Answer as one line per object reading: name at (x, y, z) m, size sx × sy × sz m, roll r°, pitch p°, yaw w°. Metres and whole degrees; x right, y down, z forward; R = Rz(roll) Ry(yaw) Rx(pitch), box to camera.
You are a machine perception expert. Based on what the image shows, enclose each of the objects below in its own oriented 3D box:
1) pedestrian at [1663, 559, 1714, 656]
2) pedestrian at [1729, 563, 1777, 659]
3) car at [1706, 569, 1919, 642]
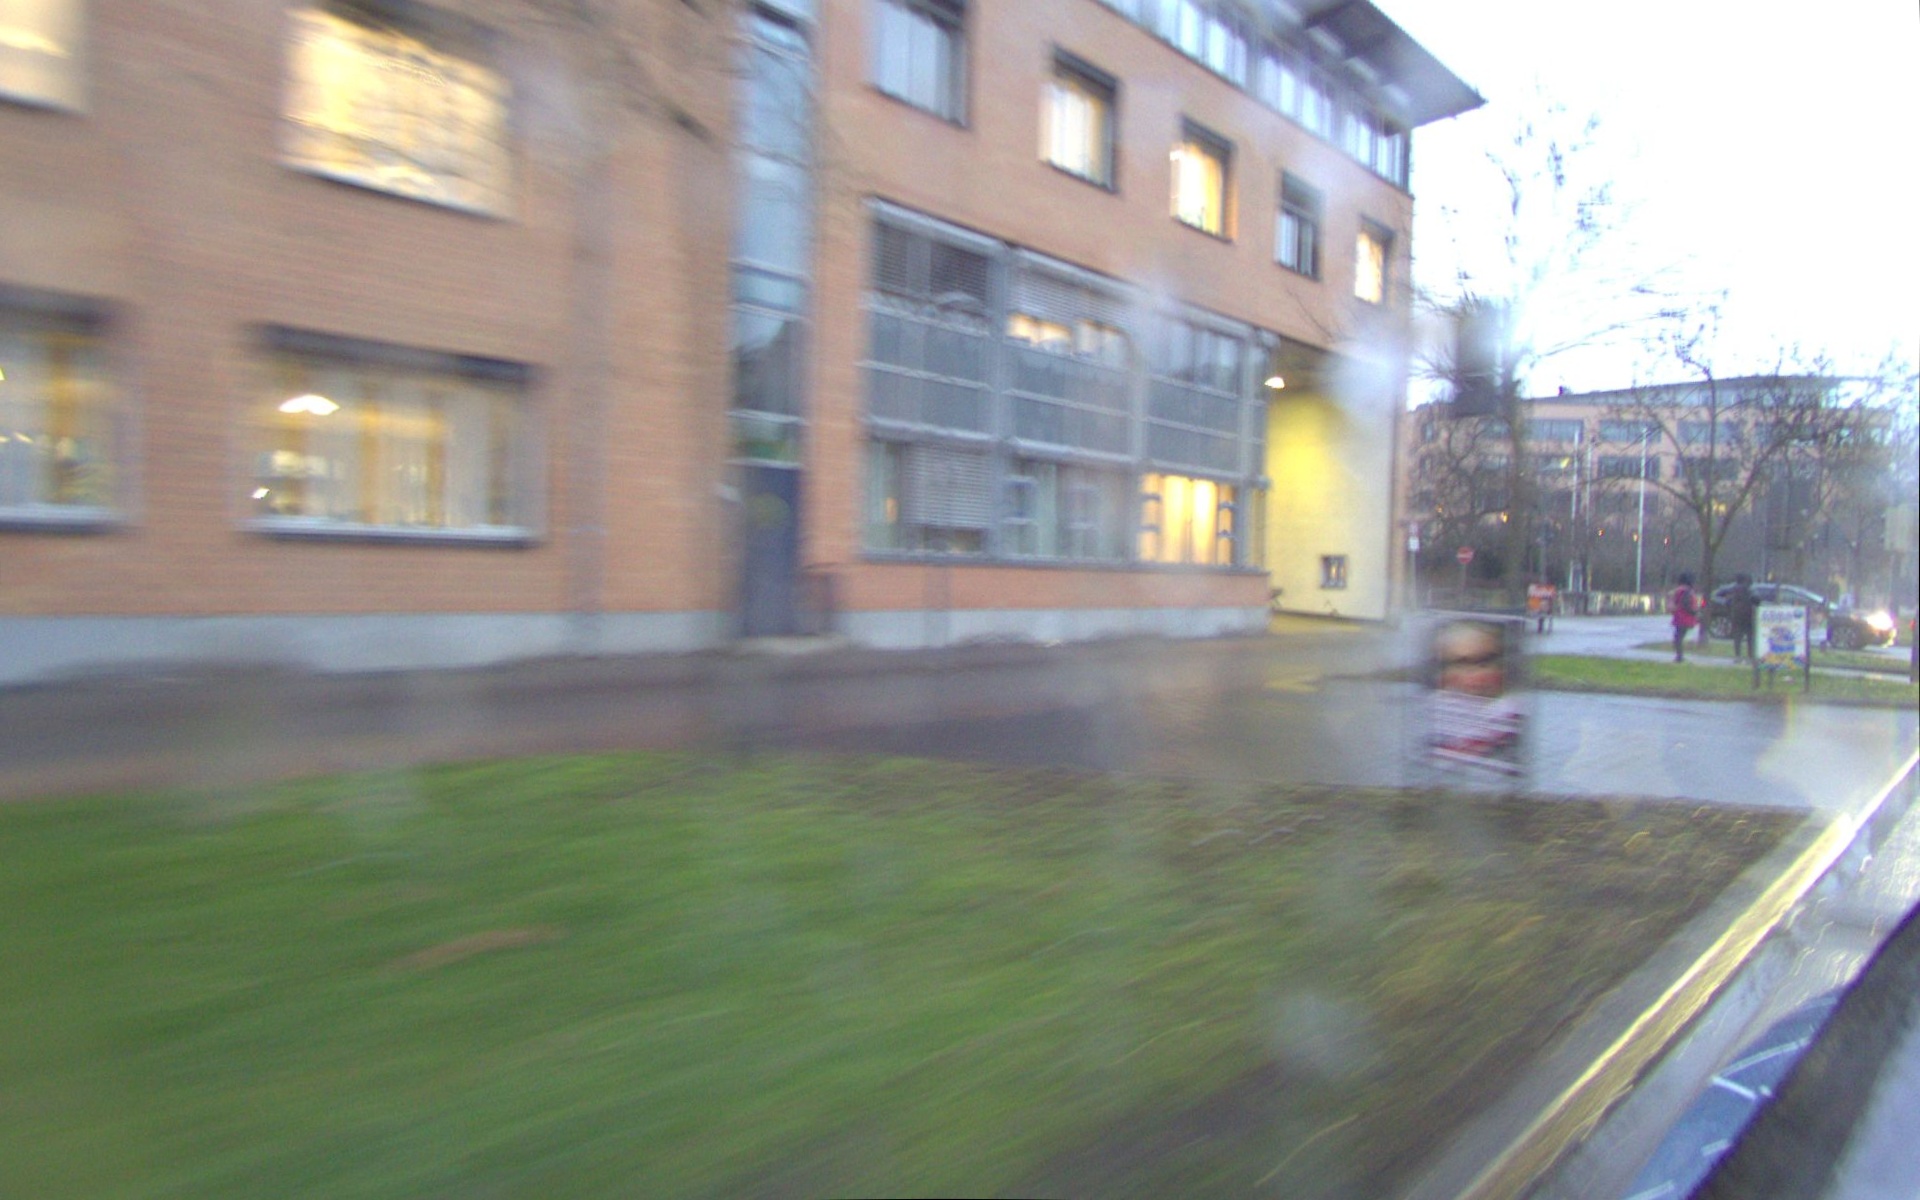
pedestrian at (13.673, 0.123, 19.014) m, size 0.498 × 1.763 × 0.655 m, roll 3°, pitch 2°, yaw 16°
pedestrian at (15.736, 0.204, 20.104) m, size 0.500 × 1.847 × 0.653 m, roll 3°, pitch 2°, yaw 23°
car at (22.171, 0.089, 26.410) m, size 1.711 × 1.574 × 3.997 m, roll 0°, pitch 4°, yaw -40°
